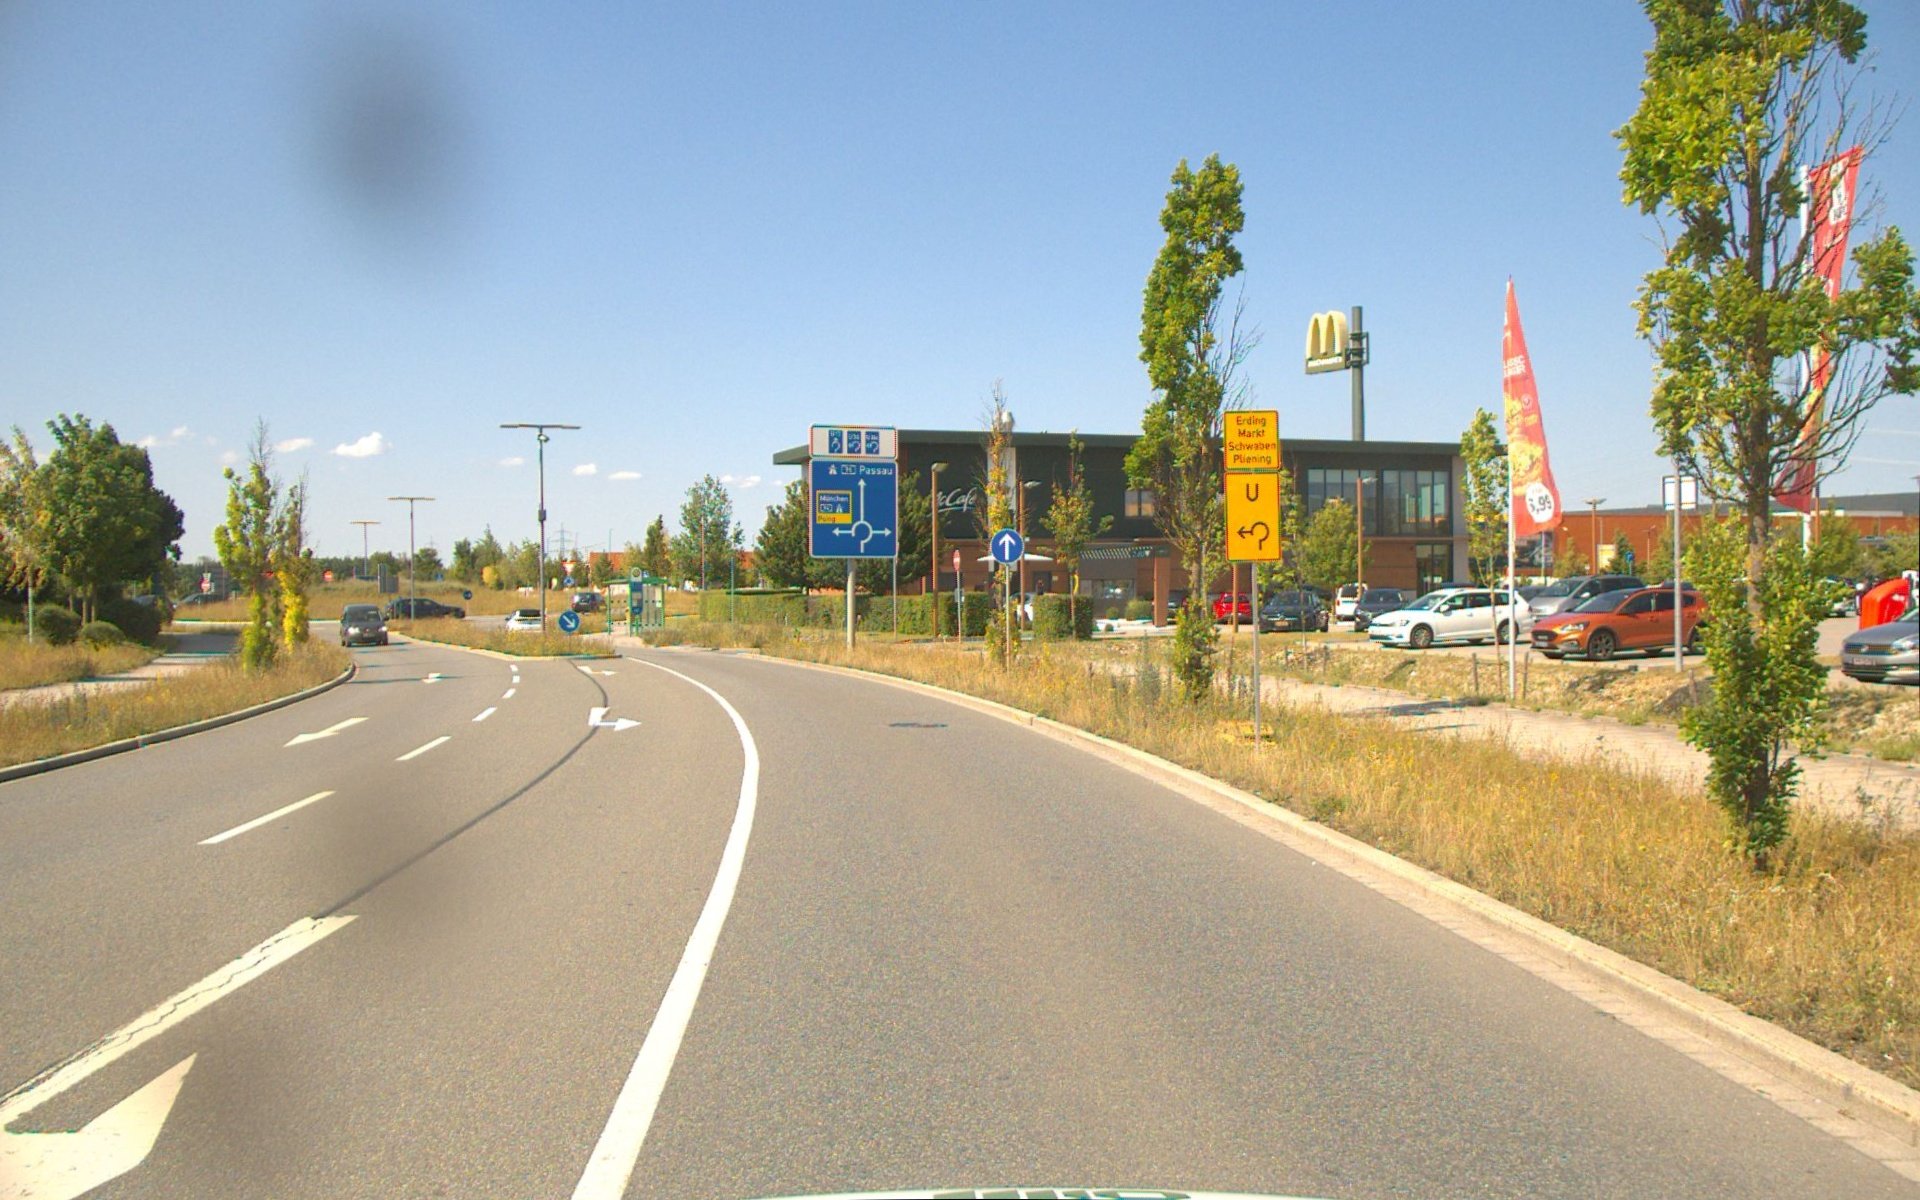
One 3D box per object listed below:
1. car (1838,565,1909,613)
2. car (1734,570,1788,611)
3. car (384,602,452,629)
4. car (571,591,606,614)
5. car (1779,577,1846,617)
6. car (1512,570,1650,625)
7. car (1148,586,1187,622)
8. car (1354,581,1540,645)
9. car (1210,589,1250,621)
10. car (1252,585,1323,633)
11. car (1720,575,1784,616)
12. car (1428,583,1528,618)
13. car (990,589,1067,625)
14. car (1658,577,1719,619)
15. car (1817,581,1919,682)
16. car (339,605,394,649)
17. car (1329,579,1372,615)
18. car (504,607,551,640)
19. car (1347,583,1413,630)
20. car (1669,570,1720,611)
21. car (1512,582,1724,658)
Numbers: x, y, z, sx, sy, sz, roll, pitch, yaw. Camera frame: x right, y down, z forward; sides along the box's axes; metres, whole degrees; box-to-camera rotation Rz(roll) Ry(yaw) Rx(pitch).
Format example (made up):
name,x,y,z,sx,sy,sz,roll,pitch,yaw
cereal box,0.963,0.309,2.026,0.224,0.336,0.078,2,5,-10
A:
name,x,y,z,sx,sy,sz,roll,pitch,yaw
car,35.808,-0.427,64.932,1.748,1.788,4.170,-1,0,20
car,36.717,-0.457,75.918,1.748,1.788,4.170,-1,0,20
car,-32.370,0.932,98.769,3.734,1.544,1.761,-1,0,-22
car,-24.206,0.157,107.864,1.584,1.459,3.791,-1,0,-2
car,33.096,-0.135,64.286,1.748,1.476,4.170,-1,0,20
car,20.006,-0.094,53.277,4.101,1.664,1.778,-1,0,-24
car,9.848,0.165,78.412,1.754,1.632,4.003,-1,0,8
car,12.969,0.320,44.108,4.452,1.516,1.861,-2,1,-16
car,12.928,0.216,79.344,1.754,1.459,4.003,-1,0,8
car,10.797,0.280,54.344,1.662,1.487,4.170,-1,0,20
car,30.117,-0.173,62.981,1.748,1.476,4.170,-1,0,20
car,22.043,0.008,70.385,3.906,1.397,1.798,-1,0,23
car,2.927,0.301,71.577,1.768,1.459,3.971,-1,0,-23
car,26.903,-0.081,61.144,1.748,1.476,4.170,-1,0,20
car,16.643,0.444,27.101,4.476,1.516,1.863,-2,1,-13
car,-26.511,1.188,73.796,1.926,1.826,4.393,-2,1,-24
car,19.436,-0.159,82.239,1.755,1.731,4.002,-1,0,18
car,-19.993,1.081,76.363,1.595,1.459,3.765,-1,0,-23
car,14.213,0.192,55.821,1.748,1.487,4.170,-1,0,20
car,33.074,-0.428,74.576,1.748,1.788,4.170,-1,0,20
car,14.646,0.412,36.868,4.136,1.516,1.861,-2,1,-16
